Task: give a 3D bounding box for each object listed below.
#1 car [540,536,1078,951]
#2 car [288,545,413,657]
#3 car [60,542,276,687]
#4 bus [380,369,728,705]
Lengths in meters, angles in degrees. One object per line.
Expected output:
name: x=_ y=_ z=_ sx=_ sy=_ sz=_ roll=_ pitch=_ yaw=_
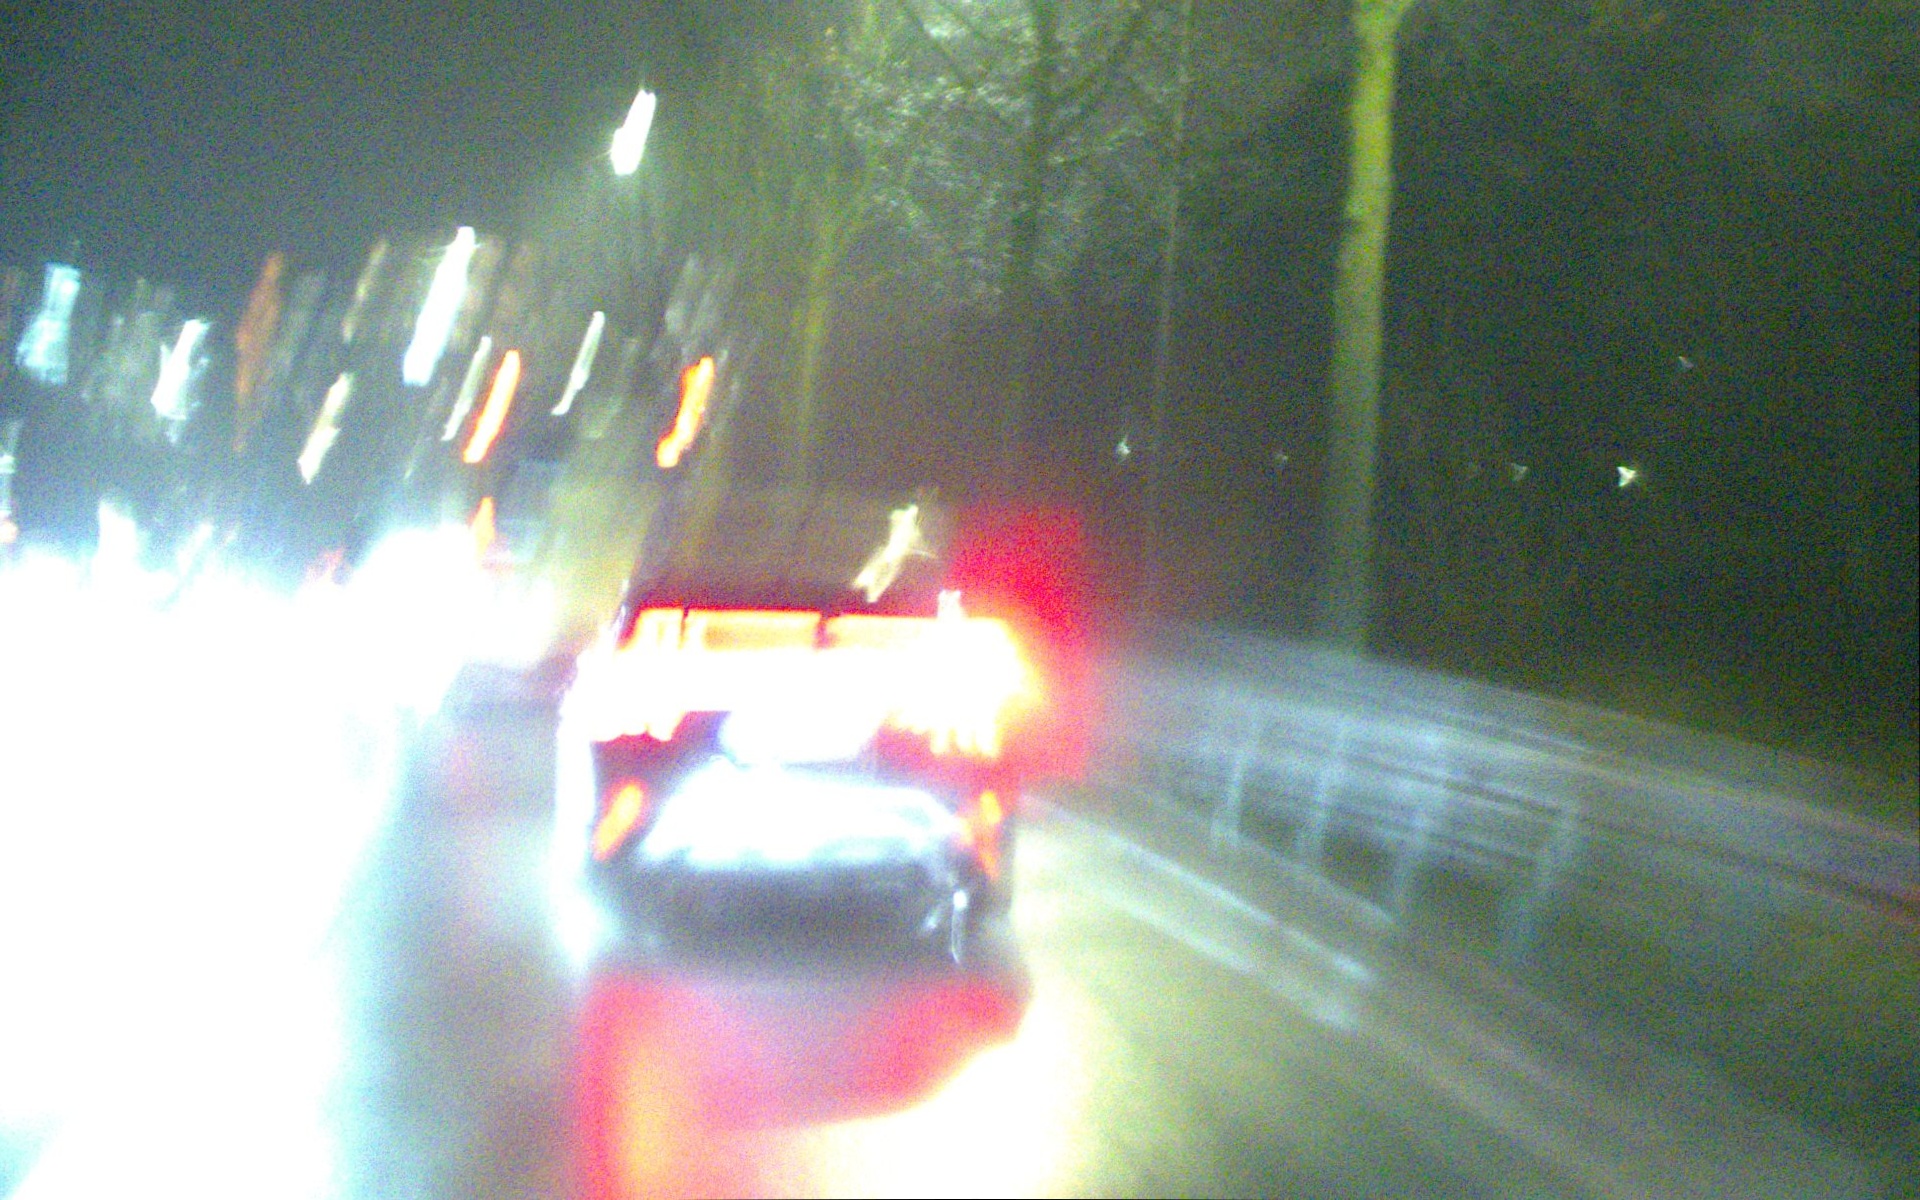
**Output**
car: x=-0.641 y=0.505 z=14.945 sx=1.993 sy=1.519 sz=4.001 roll=1 pitch=1 yaw=-2
car: x=-13.923 y=-0.015 z=78.316 sx=2.697 sy=2.469 sz=5.307 roll=0 pitch=1 yaw=-11
car: x=-8.099 y=0.134 z=35.483 sx=1.792 sy=1.387 sz=4.592 roll=0 pitch=0 yaw=-8
bus: x=-4.637 y=-0.665 z=37.499 sx=3.042 sy=3.201 sz=9.053 roll=0 pitch=1 yaw=-11
